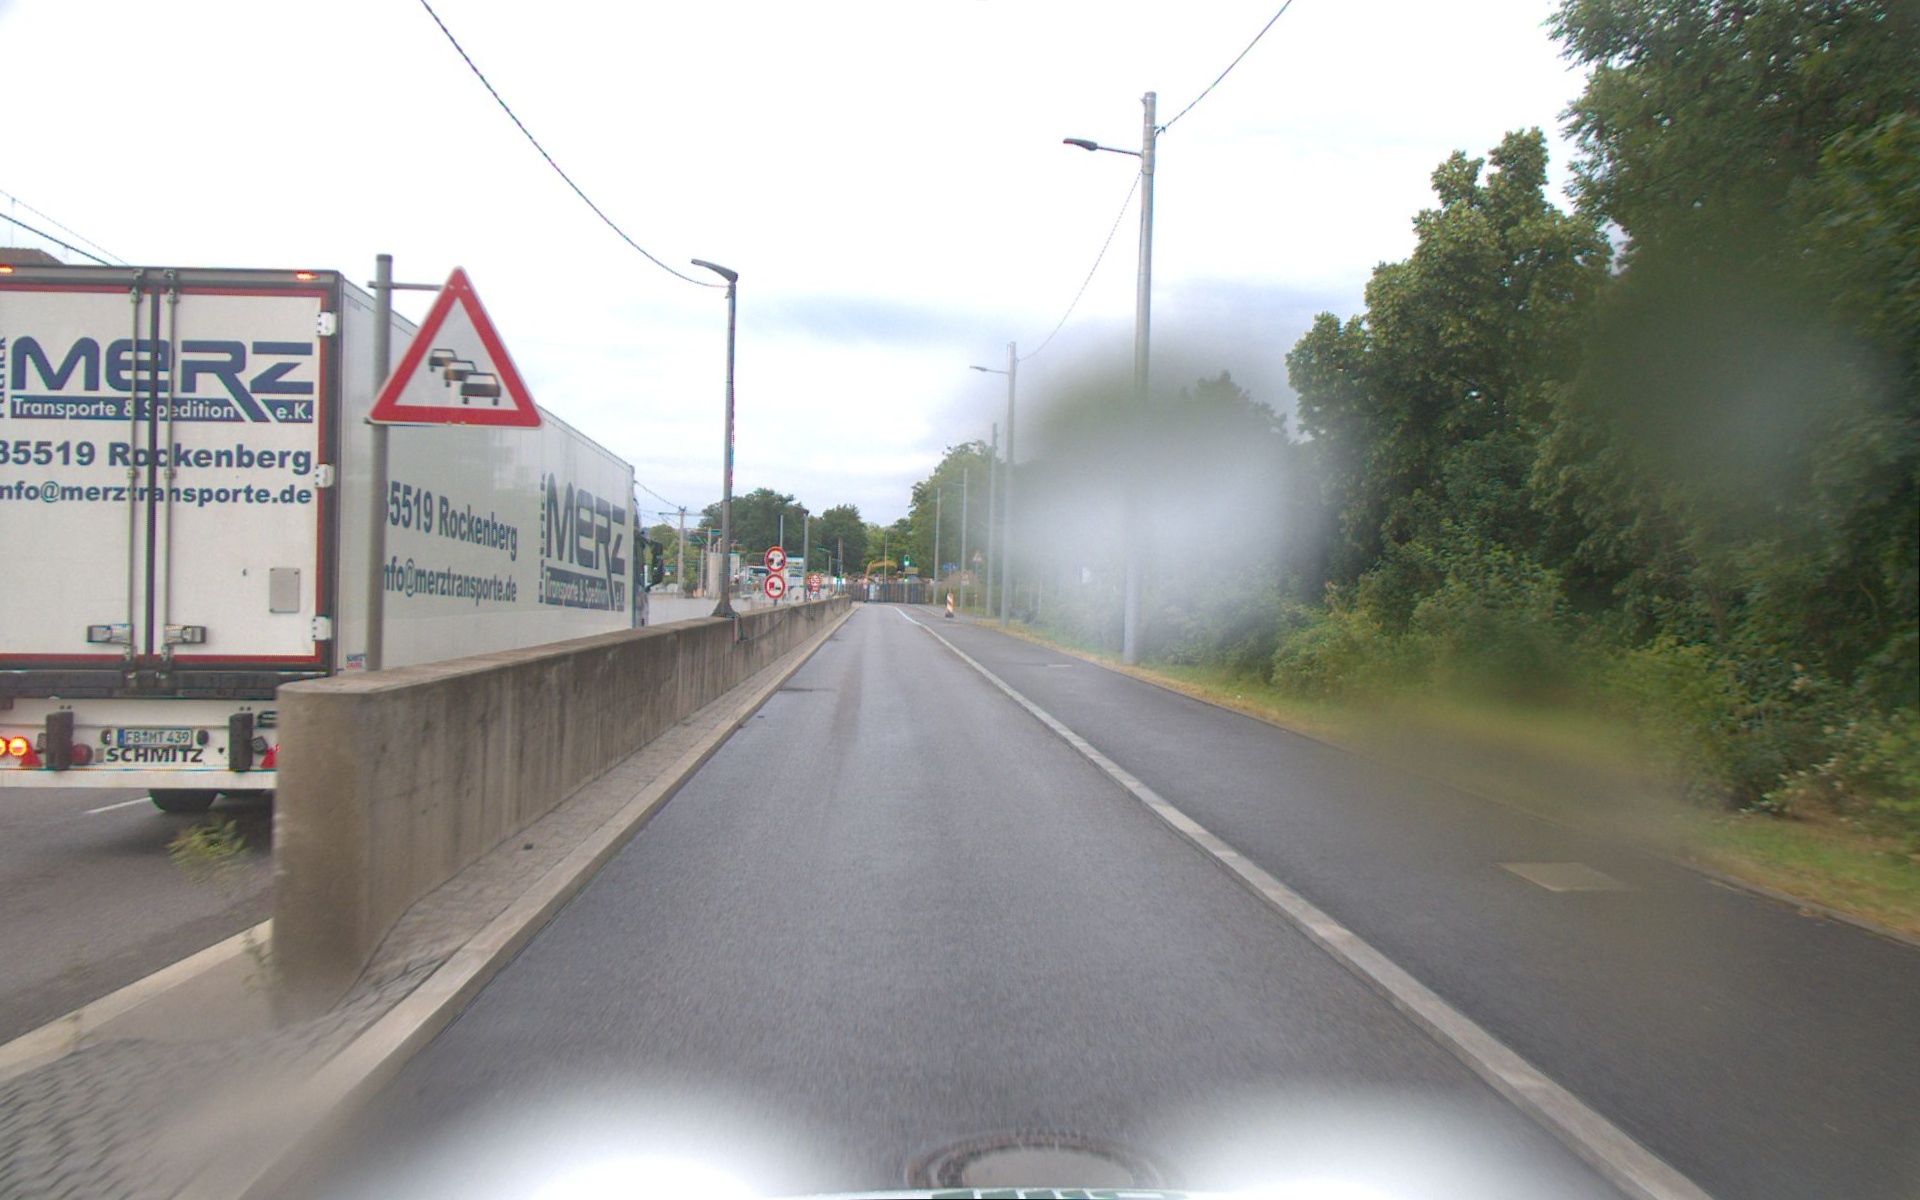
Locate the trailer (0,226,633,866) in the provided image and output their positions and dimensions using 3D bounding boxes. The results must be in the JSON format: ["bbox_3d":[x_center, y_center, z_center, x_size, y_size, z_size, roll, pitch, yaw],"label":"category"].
[{"bbox_3d":[-5.914,-0.437,17.815,2.707,4.327,13.177,0,1,-3],"label":"trailer"}]

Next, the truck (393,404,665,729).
[{"bbox_3d":[-6.252,-0.472,25.008,2.701,4.278,6.303,0,0,-3],"label":"truck"}]
